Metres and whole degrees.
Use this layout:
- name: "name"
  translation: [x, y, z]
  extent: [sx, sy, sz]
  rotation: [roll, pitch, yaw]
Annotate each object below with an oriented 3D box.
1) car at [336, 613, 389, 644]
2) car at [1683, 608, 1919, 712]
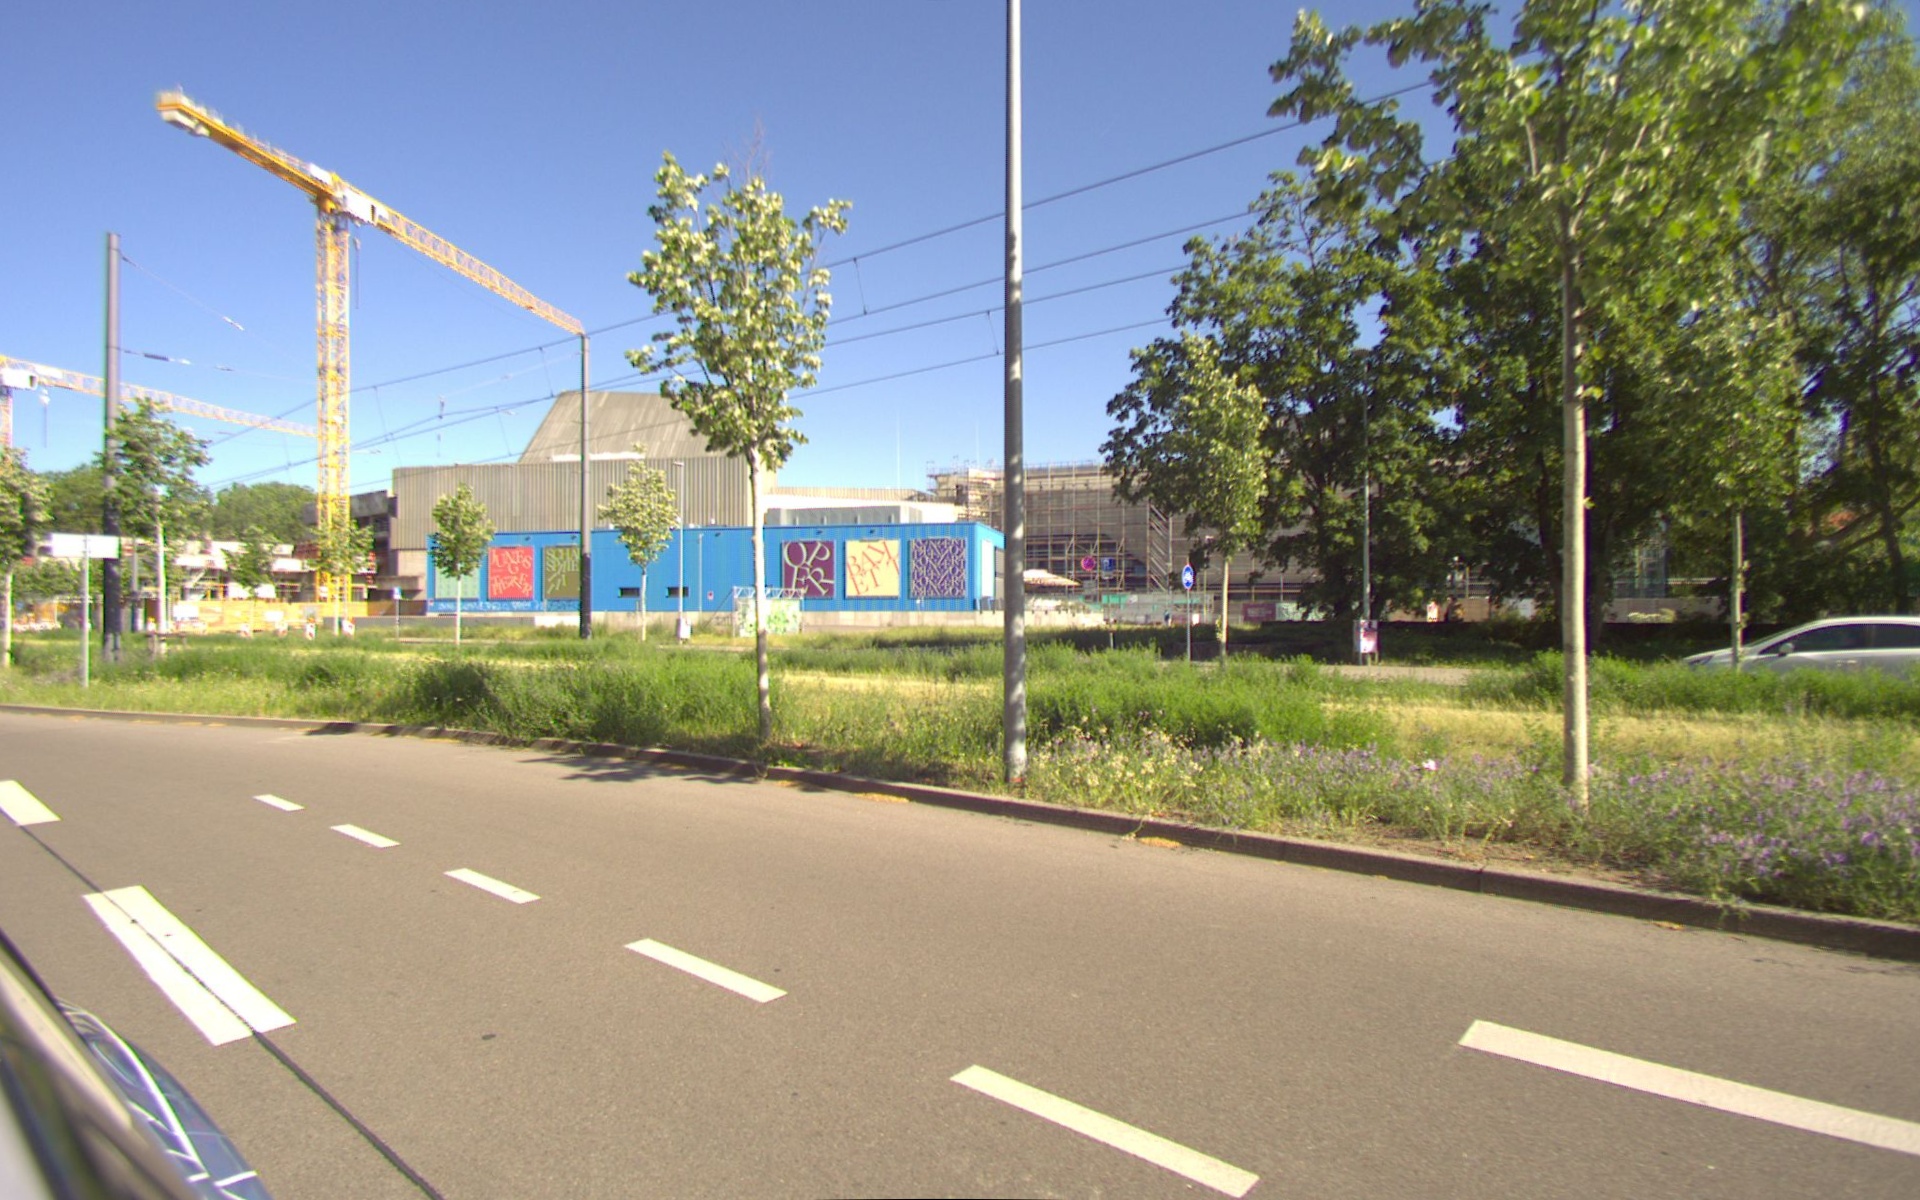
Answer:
- name: "car"
  translation: [-37.790, 1.789, 63.980]
  extent: [3.999, 1.811, 1.779]
  rotation: [0, 2, 42]
- name: "car"
  translation: [13.141, 0.843, 14.995]
  extent: [3.830, 1.409, 1.616]
  rotation: [-1, -1, 40]
